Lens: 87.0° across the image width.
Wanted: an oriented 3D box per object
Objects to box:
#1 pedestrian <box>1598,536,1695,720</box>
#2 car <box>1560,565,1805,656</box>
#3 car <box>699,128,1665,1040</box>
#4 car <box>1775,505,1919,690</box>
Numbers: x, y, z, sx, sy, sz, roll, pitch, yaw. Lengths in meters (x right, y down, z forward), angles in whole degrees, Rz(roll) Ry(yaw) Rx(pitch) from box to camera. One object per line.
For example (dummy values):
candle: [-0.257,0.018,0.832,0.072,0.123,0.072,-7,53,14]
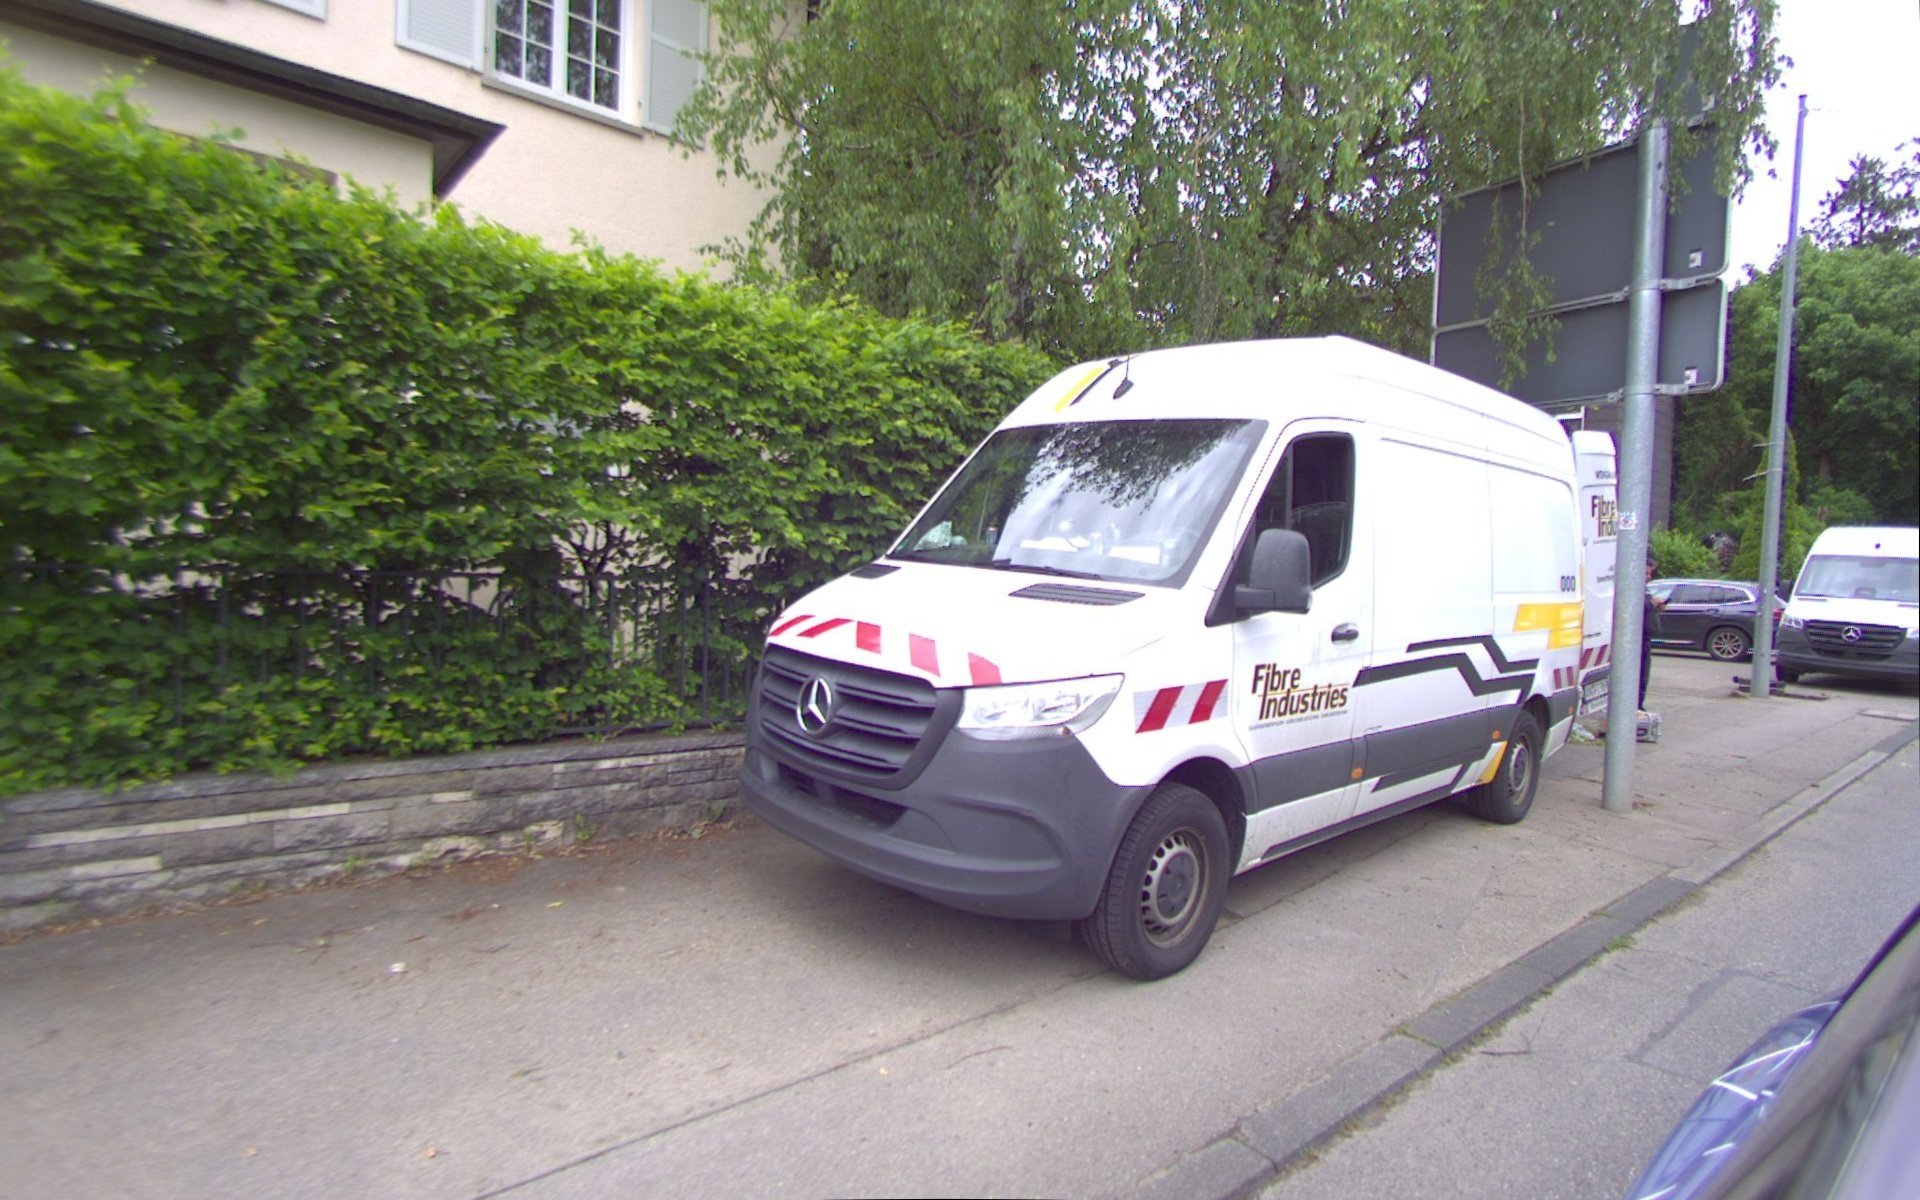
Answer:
pedestrian: [7.222,0.268,10.646,0.774,1.853,0.639,0,2,-43]
car: [15.624,0.146,22.040,1.826,1.749,3.996,0,2,-40]
car: [1.984,-0.110,5.943,6.569,2.636,2.093,0,4,-43]
car: [15.556,-0.077,16.788,5.862,2.634,2.046,0,4,-41]
